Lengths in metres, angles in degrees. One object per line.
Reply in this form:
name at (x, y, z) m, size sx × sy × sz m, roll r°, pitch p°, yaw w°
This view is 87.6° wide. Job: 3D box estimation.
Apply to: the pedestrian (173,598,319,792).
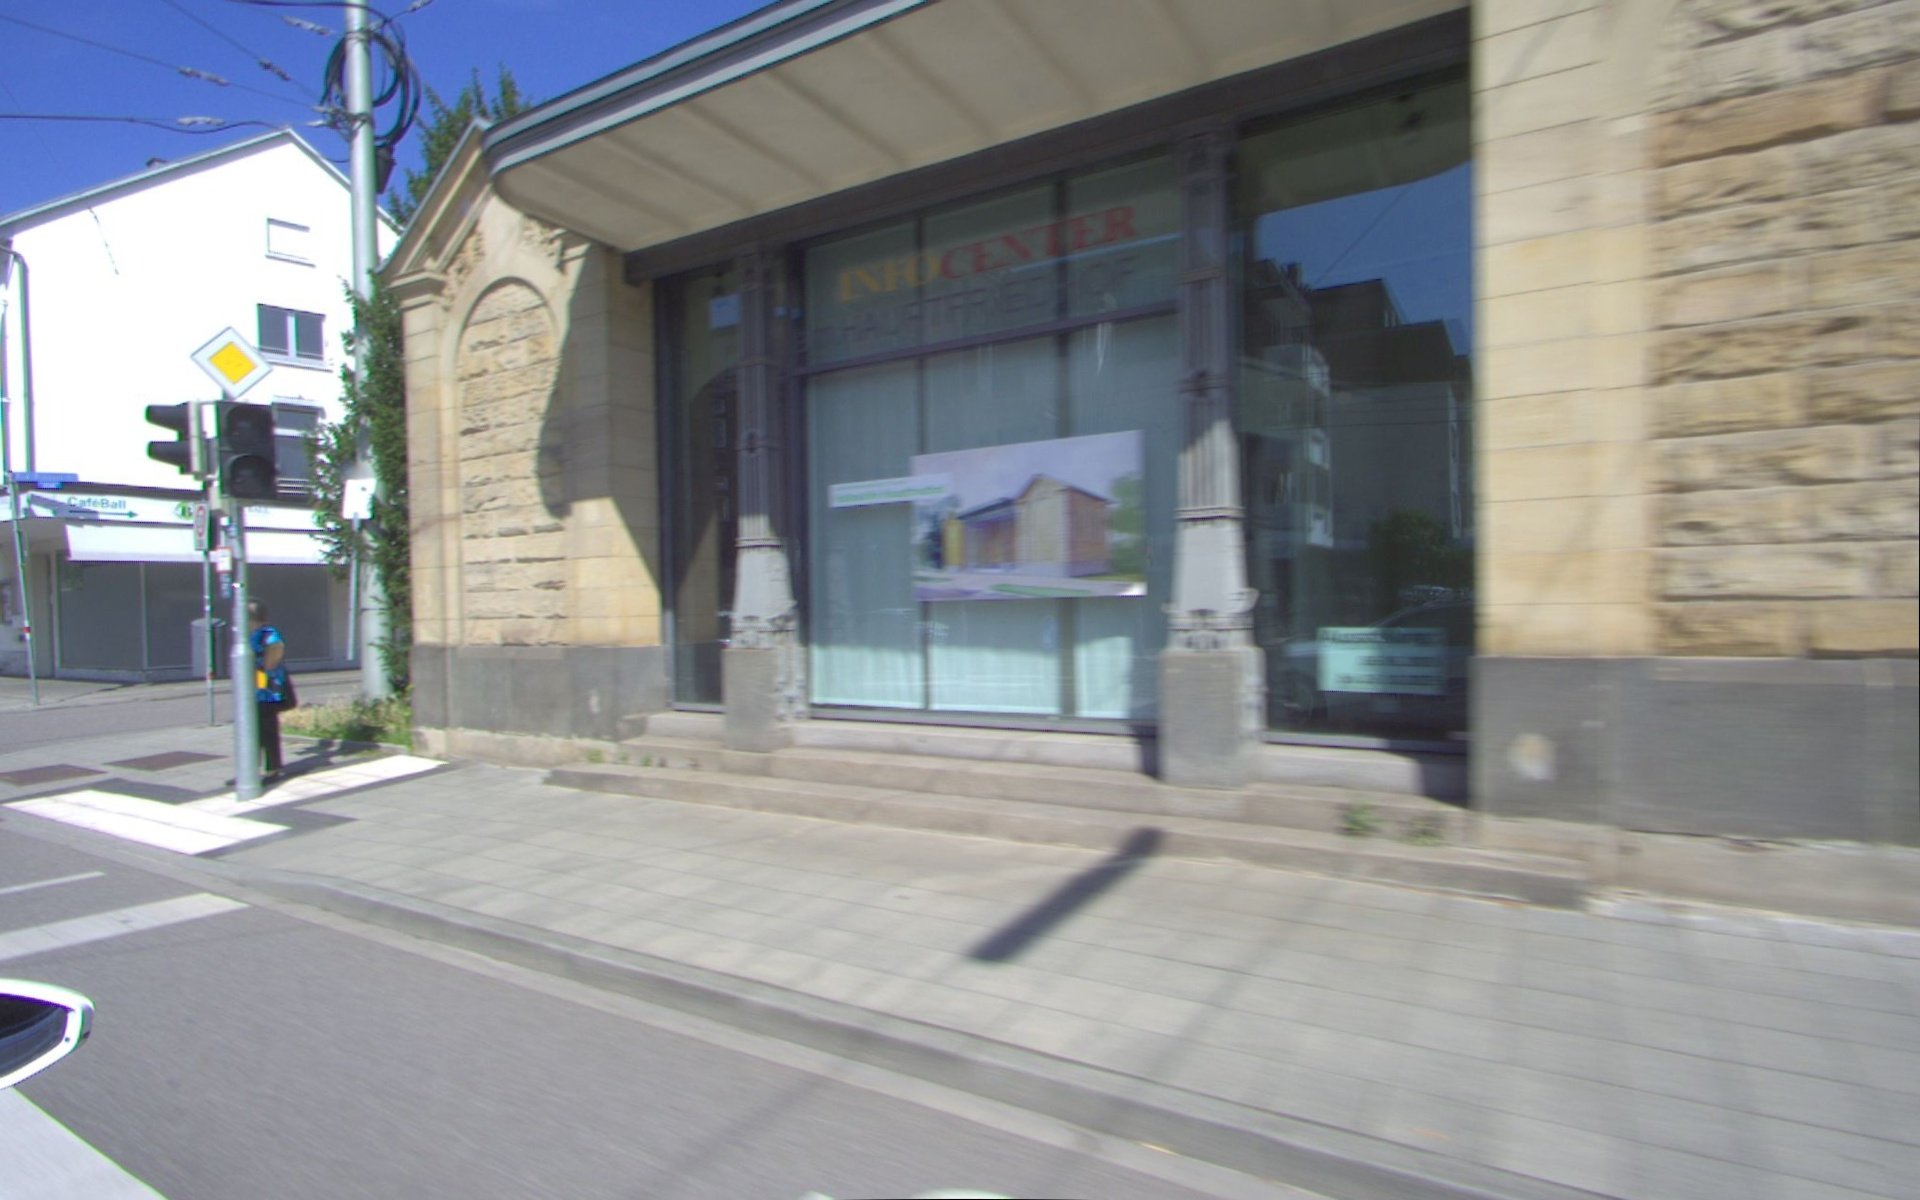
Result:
pedestrian at (-6.054, 0.756, 8.493) m, size 0.848 × 1.530 × 0.776 m, roll 0°, pitch 1°, yaw 38°
